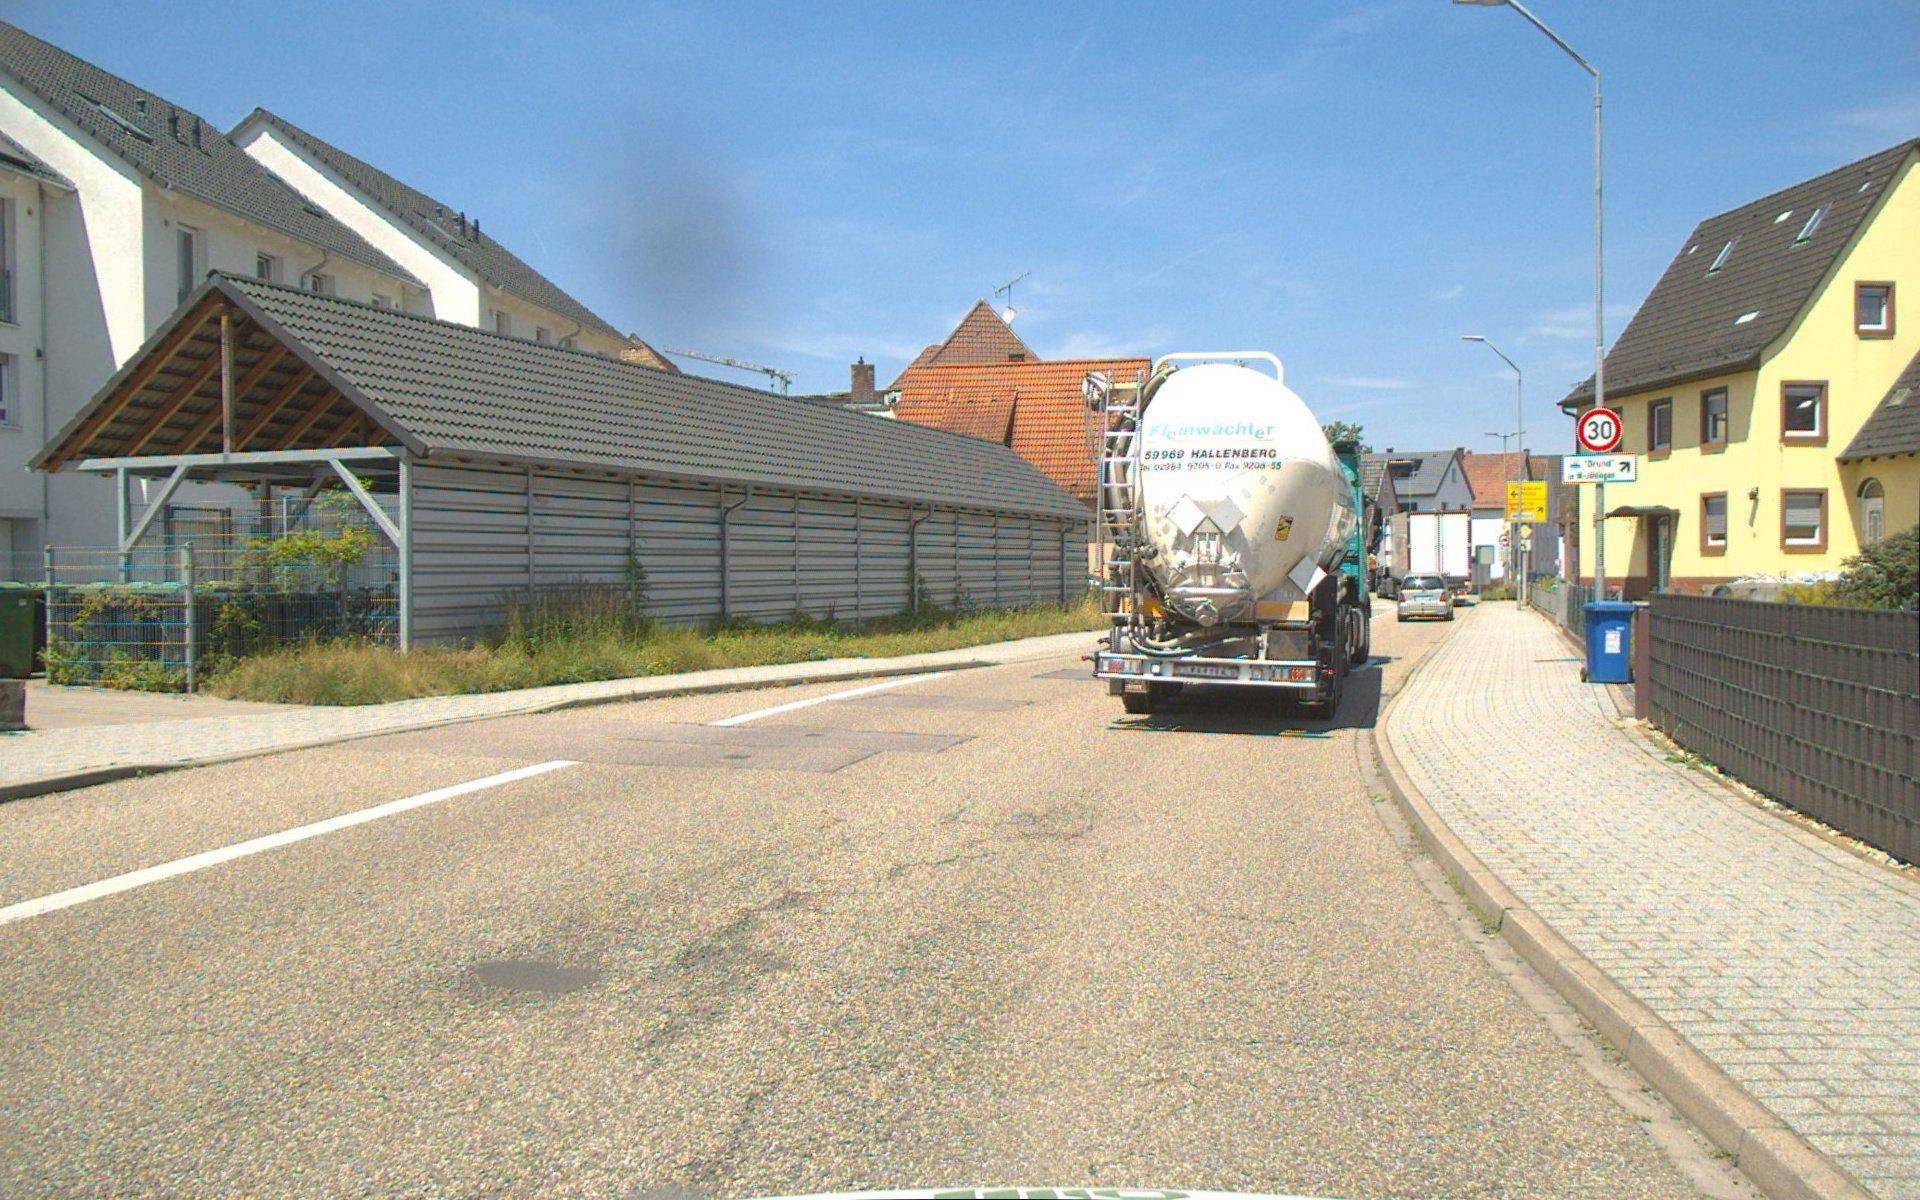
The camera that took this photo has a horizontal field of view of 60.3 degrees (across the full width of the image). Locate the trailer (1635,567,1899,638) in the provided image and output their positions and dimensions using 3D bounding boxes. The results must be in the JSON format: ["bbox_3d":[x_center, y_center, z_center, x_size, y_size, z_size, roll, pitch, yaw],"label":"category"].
[{"bbox_3d":[18.617,0.060,38.243,5.249,1.573,2.134,0,0,-10],"label":"trailer"}]

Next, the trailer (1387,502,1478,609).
[{"bbox_3d":[21.018,-1.896,74.248,3.065,4.351,12.506,0,1,12],"label":"trailer"}]

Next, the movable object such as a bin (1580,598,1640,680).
[{"bbox_3d":[8.659,0.514,22.051,0.553,1.076,0.651,-1,0,3],"label":"movable object such as a bin"}]

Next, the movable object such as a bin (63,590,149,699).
[{"bbox_3d":[-10.480,0.529,20.311,0.626,1.301,0.694,0,0,18],"label":"movable object such as a bin"}]

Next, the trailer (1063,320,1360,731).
[{"bbox_3d":[3.843,-0.790,22.160,2.889,4.017,11.628,0,1,14],"label":"trailer"}]

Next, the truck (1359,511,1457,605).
[{"bbox_3d":[22.155,-2.050,82.144,3.042,4.478,5.933,0,0,-2],"label":"truck"}]

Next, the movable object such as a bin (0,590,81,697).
[{"bbox_3d":[-11.487,0.533,20.612,0.626,1.301,0.694,0,0,18],"label":"movable object such as a bin"}]

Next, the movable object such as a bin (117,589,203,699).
[{"bbox_3d":[-9.717,0.525,20.103,0.626,1.301,0.694,0,0,18],"label":"movable object such as a bin"}]

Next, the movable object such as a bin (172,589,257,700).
[{"bbox_3d":[-8.935,0.521,19.840,0.626,1.301,0.694,0,0,18],"label":"movable object such as a bin"}]

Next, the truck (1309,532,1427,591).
[{"bbox_3d":[24.228,-2.247,98.096,7.378,3.236,2.636,1,0,-36],"label":"truck"}]

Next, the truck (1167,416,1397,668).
[{"bbox_3d":[5.899,-0.954,29.560,2.927,4.034,5.577,0,0,23],"label":"truck"}]

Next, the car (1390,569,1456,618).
[{"bbox_3d":[15.032,-0.218,53.867,1.803,1.512,4.004,0,1,12],"label":"car"}]
